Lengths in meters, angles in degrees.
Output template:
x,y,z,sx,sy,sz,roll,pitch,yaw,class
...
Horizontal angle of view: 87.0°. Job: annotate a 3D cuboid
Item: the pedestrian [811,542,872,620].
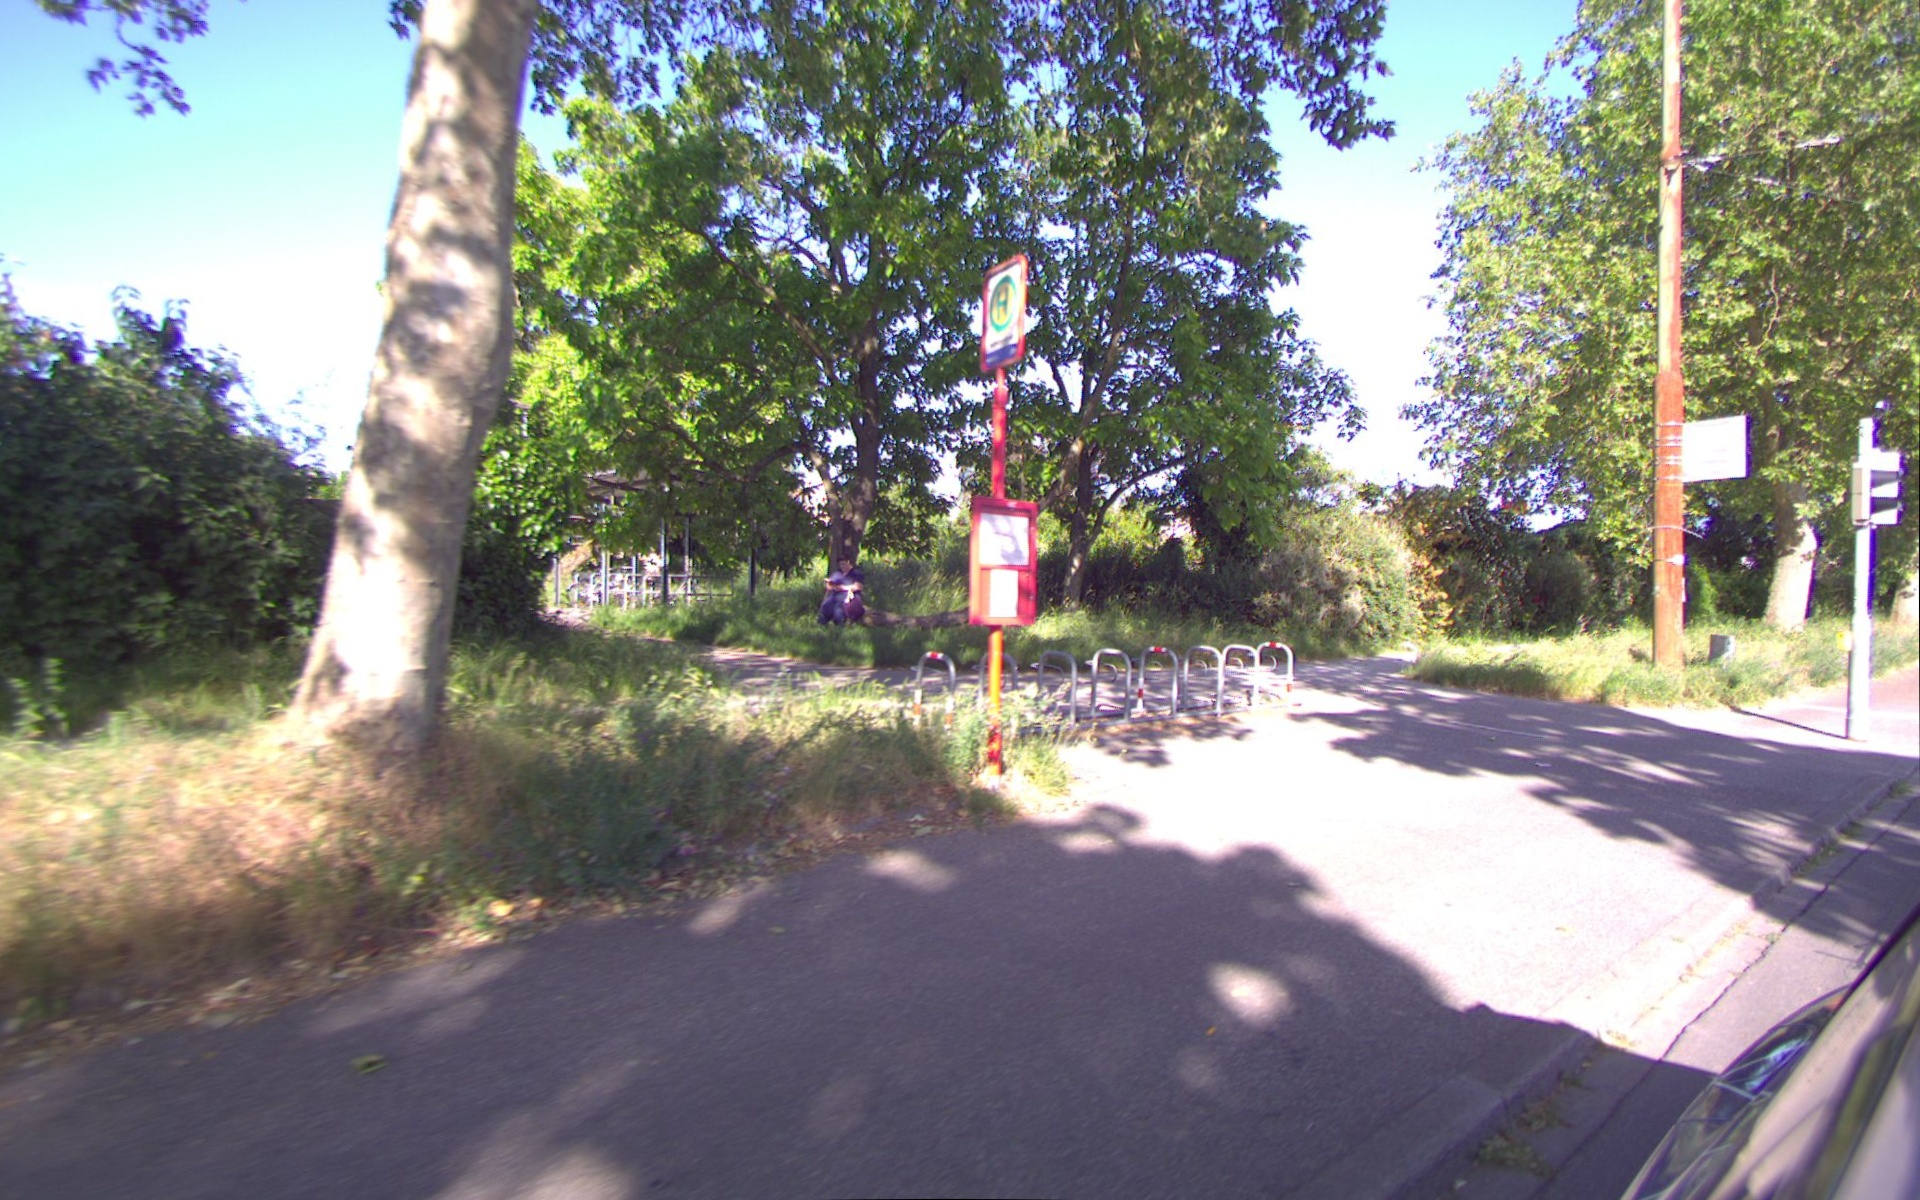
x,y,z,sx,sy,sz,roll,pitch,yaw,class
-1.920,-0.297,16.433,0.729,1.235,0.683,0,0,29,pedestrian
